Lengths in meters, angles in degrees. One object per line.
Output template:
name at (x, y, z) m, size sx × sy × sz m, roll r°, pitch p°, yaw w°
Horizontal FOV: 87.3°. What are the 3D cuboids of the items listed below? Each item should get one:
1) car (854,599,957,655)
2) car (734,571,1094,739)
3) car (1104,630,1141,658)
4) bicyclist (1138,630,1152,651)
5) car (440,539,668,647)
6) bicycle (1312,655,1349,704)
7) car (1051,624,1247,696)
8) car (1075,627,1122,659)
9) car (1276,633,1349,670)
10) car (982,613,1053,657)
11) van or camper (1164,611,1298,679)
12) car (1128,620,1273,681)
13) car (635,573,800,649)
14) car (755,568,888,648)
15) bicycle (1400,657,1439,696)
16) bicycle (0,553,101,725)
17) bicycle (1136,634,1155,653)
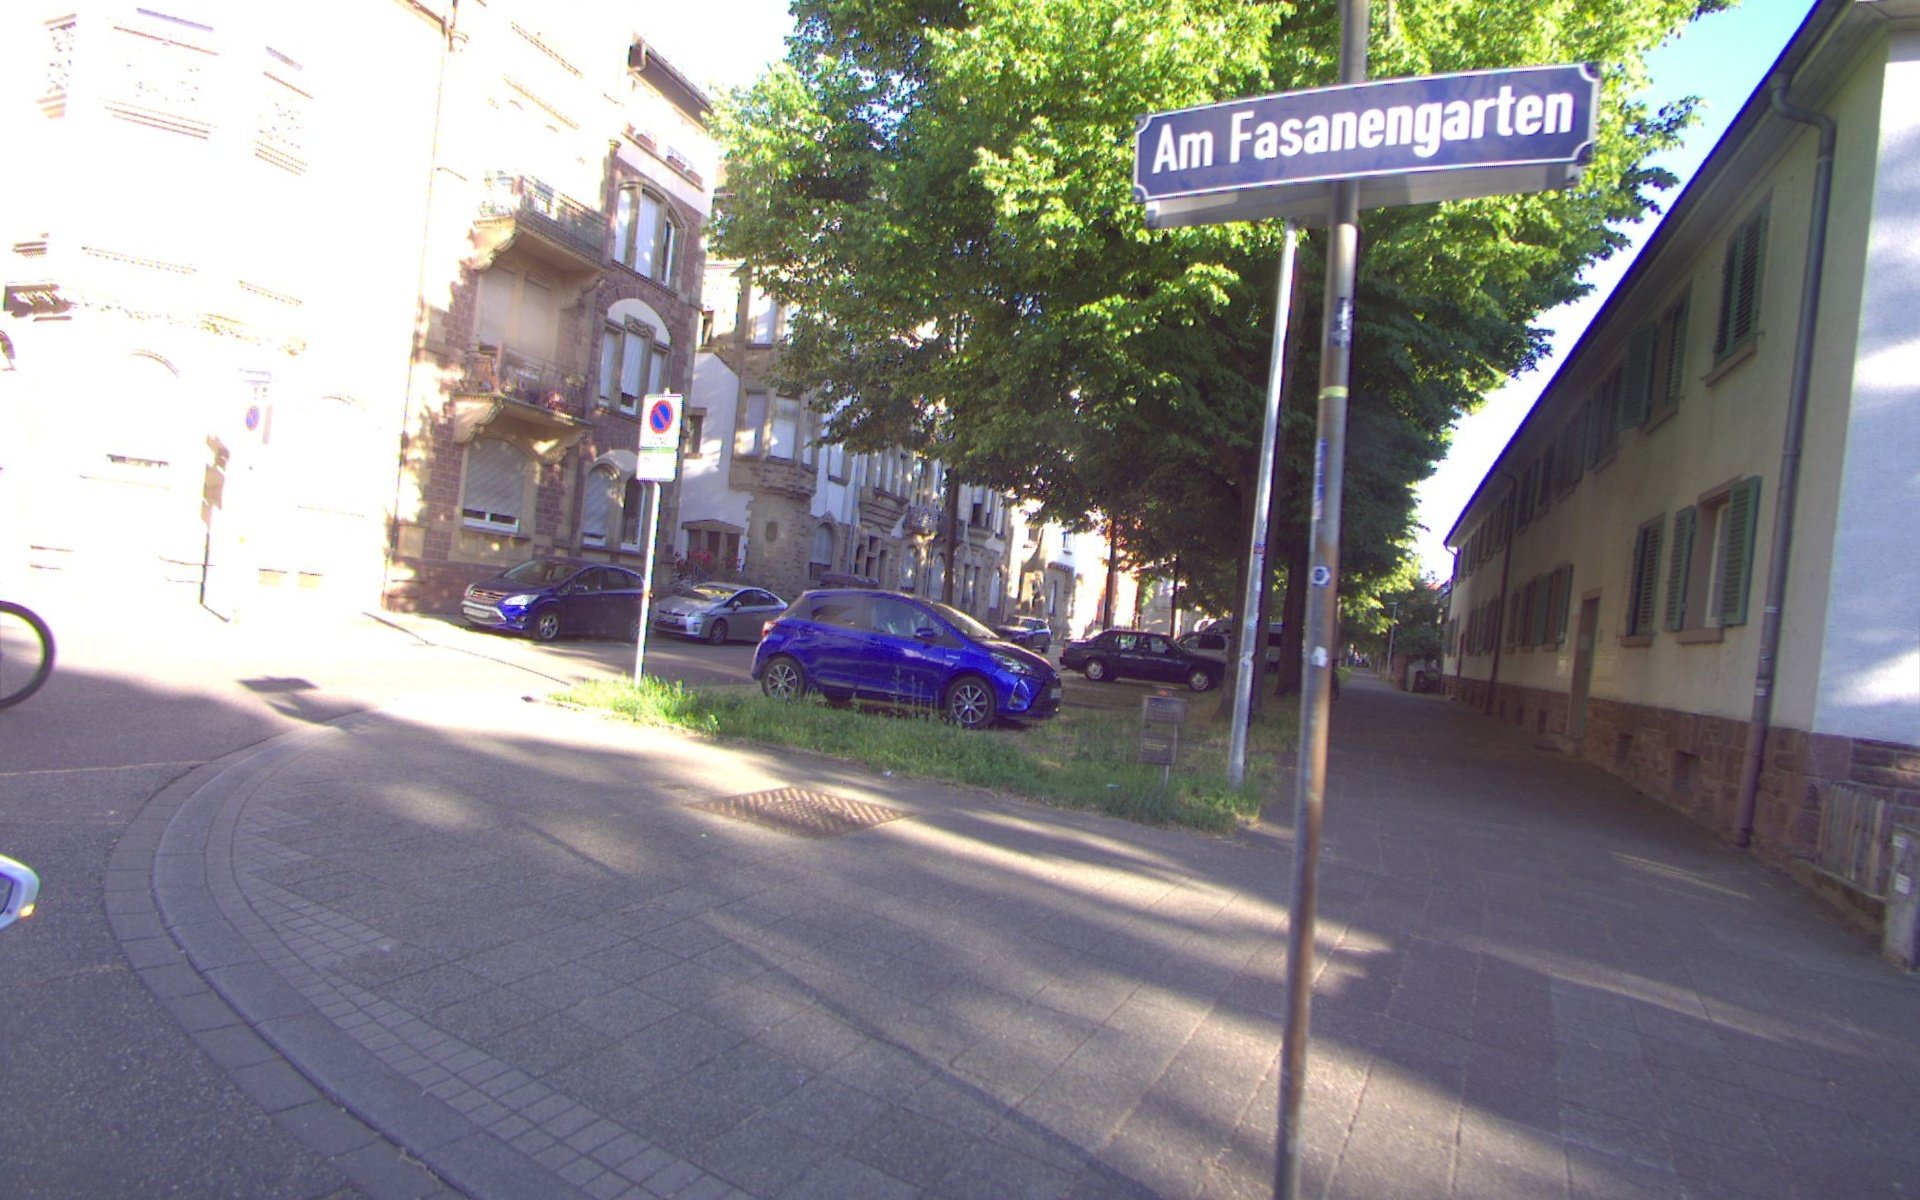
car at (-1.899, 1.047, 36.626) m, size 1.703 × 1.592 × 4.709 m, roll 6°, pitch -2°, yaw 23°
car at (-0.527, 0.656, 12.602) m, size 3.926 × 1.573 × 2.001 m, roll 5°, pitch -2°, yaw 20°
car at (10.987, 3.011, 67.739) m, size 1.468 × 1.535 × 3.776 m, roll 10°, pitch 0°, yaw 22°
bicyclist at (12.279, 2.692, 66.669) m, size 0.654 × 1.362 × 1.060 m, roll 5°, pitch 0°, yaw 19°
car at (-8.009, -0.046, 20.332) m, size 1.703 × 1.640 × 4.261 m, roll 8°, pitch -1°, yaw 20°
bicycle at (10.025, 2.125, 27.261) m, size 0.618 × 1.177 × 1.935 m, roll 7°, pitch 0°, yaw 14°
car at (5.074, 1.591, 26.957) m, size 4.819 × 1.459 × 1.943 m, roll 4°, pitch -2°, yaw 21°
car at (8.666, 2.702, 62.641) m, size 1.728 × 1.535 × 4.115 m, roll 10°, pitch 0°, yaw 22°
car at (38.530, 5.599, 109.968) m, size 7.224 × 3.321 × 2.223 m, roll 5°, pitch -2°, yaw 24°
car at (2.785, 1.681, 47.405) m, size 2.018 × 1.640 × 4.398 m, roll 6°, pitch -2°, yaw 20°
van or camper at (12.199, 2.043, 45.305) m, size 5.489 × 2.566 × 2.269 m, roll 4°, pitch -2°, yaw 21°
car at (8.059, 1.666, 33.684) m, size 4.408 × 1.690 × 1.942 m, roll 3°, pitch -1°, yaw 21°
car at (-5.954, 0.345, 25.296) m, size 1.703 × 1.517 × 4.455 m, roll 8°, pitch 0°, yaw 20°
car at (-4.095, 0.325, 30.552) m, size 1.938 × 1.998 × 4.498 m, roll 8°, pitch 0°, yaw 20°
bicycle at (18.704, 3.087, 41.002) m, size 0.787 × 1.416 × 2.006 m, roll 6°, pitch -1°, yaw 9°
bicycle at (-6.670, 0.203, 6.198) m, size 0.547 × 1.085 × 1.970 m, roll 9°, pitch -1°, yaw 21°
bicycle at (12.254, 2.868, 66.449) m, size 0.741 × 1.193 × 2.620 m, roll 5°, pitch -1°, yaw 19°
